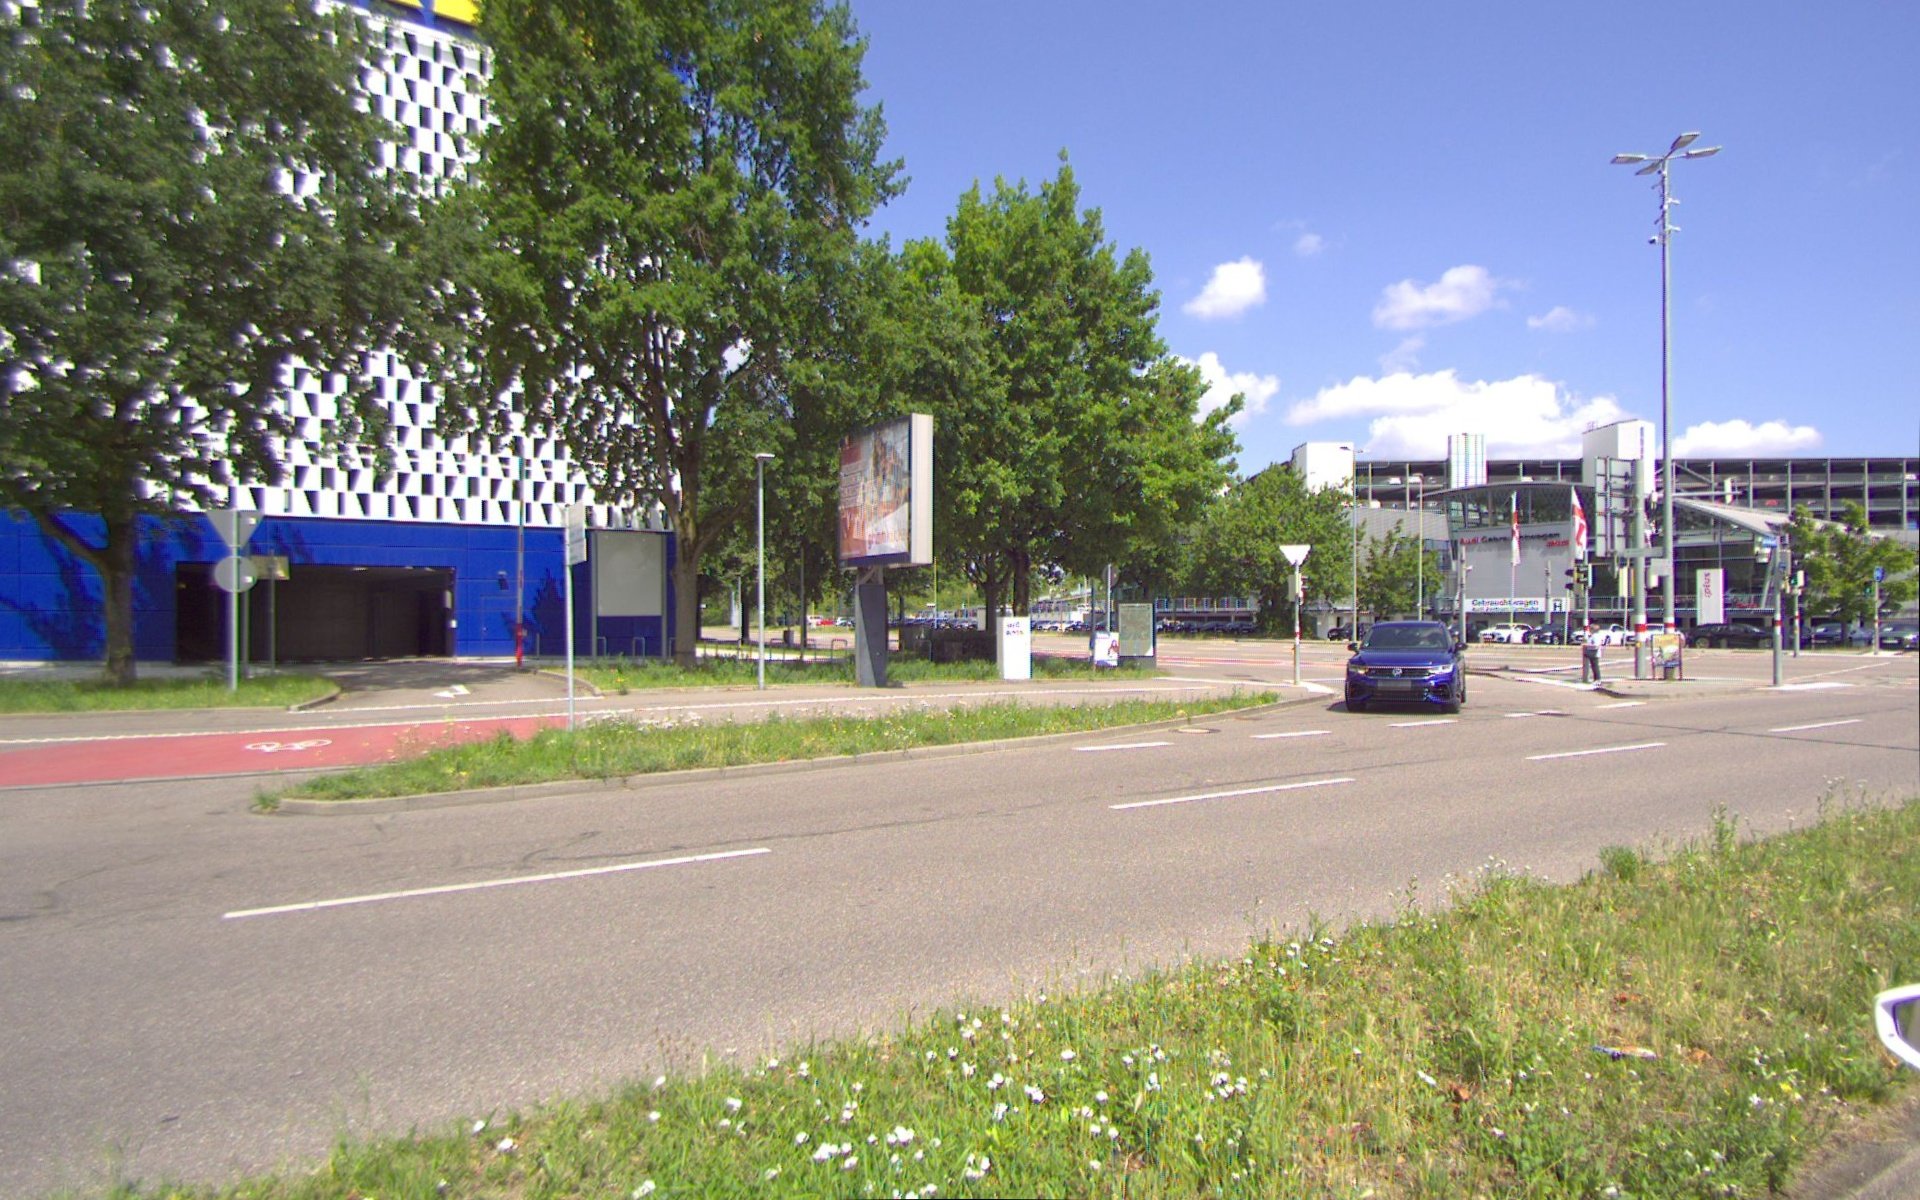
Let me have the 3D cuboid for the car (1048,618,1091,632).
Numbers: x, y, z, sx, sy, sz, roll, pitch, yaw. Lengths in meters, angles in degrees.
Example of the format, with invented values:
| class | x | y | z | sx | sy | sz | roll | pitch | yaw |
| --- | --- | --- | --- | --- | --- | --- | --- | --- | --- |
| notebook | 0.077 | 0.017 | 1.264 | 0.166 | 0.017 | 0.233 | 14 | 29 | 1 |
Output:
| class | x | y | z | sx | sy | sz | roll | pitch | yaw |
| --- | --- | --- | --- | --- | --- | --- | --- | --- | --- |
| car | 10.795 | 2.439 | 98.774 | 3.953 | 1.271 | 1.789 | 0 | 0 | -30 |

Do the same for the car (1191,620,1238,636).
| class | x | y | z | sx | sy | sz | roll | pitch | yaw |
| --- | --- | --- | --- | --- | --- | --- | --- | --- | --- |
| car | 20.146 | 2.193 | 79.449 | 3.463 | 1.207 | 1.583 | 1 | 0 | -30 |

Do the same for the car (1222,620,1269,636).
| class | x | y | z | sx | sy | sz | roll | pitch | yaw |
| --- | --- | --- | --- | --- | --- | --- | --- | --- | --- |
| car | 21.962 | 2.151 | 77.295 | 3.463 | 1.207 | 1.583 | 1 | 0 | -30 |

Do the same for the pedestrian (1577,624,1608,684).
| class | x | y | z | sx | sy | sz | roll | pitch | yaw |
| --- | --- | --- | --- | --- | --- | --- | --- | --- | --- |
| pedestrian | 16.627 | 1.415 | 26.423 | 0.502 | 1.532 | 0.470 | 1 | 0 | -5 |

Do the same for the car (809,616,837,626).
| class | x | y | z | sx | sy | sz | roll | pitch | yaw |
| --- | --- | --- | --- | --- | --- | --- | --- | --- | --- |
| car | -19.515 | 2.978 | 142.930 | 3.687 | 1.409 | 1.689 | 1 | 0 | -30 |

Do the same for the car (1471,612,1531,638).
| class | x | y | z | sx | sy | sz | roll | pitch | yaw |
| --- | --- | --- | --- | --- | --- | --- | --- | --- | --- |
| car | 33.653 | 1.518 | 62.455 | 3.664 | 1.506 | 1.866 | 0 | 0 | -35 |

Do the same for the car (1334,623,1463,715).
| class | x | y | z | sx | sy | sz | roll | pitch | yaw |
| --- | --- | --- | --- | --- | --- | --- | --- | --- | --- |
| car | 8.317 | 1.238 | 18.867 | 1.963 | 1.529 | 3.996 | -3 | -3 | 27 |

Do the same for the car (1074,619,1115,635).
| class | x | y | z | sx | sy | sz | roll | pitch | yaw |
| --- | --- | --- | --- | --- | --- | --- | --- | --- | --- |
| car | 12.211 | 2.422 | 91.057 | 3.463 | 1.409 | 1.583 | 1 | 0 | -30 |

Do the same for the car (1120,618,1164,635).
| class | x | y | z | sx | sy | sz | roll | pitch | yaw |
| --- | --- | --- | --- | --- | --- | --- | --- | --- | --- |
| car | 15.604 | 2.301 | 86.046 | 3.463 | 1.409 | 1.583 | 1 | 0 | -30 |

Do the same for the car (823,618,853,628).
| class | x | y | z | sx | sy | sz | roll | pitch | yaw |
| --- | --- | --- | --- | --- | --- | --- | --- | --- | --- |
| car | -16.771 | 3.139 | 137.952 | 3.687 | 1.409 | 1.689 | 1 | 0 | -30 |

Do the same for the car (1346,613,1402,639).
| class | x | y | z | sx | sy | sz | roll | pitch | yaw |
| --- | --- | --- | --- | --- | --- | --- | --- | --- | --- |
| car | 28.248 | 1.776 | 68.524 | 3.754 | 1.686 | 1.803 | 1 | 0 | -34 |

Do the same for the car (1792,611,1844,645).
| class | x | y | z | sx | sy | sz | roll | pitch | yaw |
| --- | --- | --- | --- | --- | --- | --- | --- | --- | --- |
| car | 42.197 | 1.369 | 49.354 | 1.797 | 1.572 | 3.977 | 1 | 0 | 43 |

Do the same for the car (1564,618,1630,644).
| class | x | y | z | sx | sy | sz | roll | pitch | yaw |
| --- | --- | --- | --- | --- | --- | --- | --- | --- | --- |
| car | 36.811 | 1.785 | 58.045 | 3.713 | 1.394 | 1.895 | 0 | 0 | -34 |

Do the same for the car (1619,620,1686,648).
| class | x | y | z | sx | sy | sz | roll | pitch | yaw |
| --- | --- | --- | --- | --- | --- | --- | --- | --- | --- |
| car | 38.384 | 1.859 | 55.648 | 3.987 | 1.469 | 1.765 | 0 | 0 | -34 |

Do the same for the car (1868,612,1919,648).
| class | x | y | z | sx | sy | sz | roll | pitch | yaw |
| --- | --- | --- | --- | --- | --- | --- | --- | --- | --- |
| car | 43.977 | 1.378 | 47.266 | 1.797 | 1.572 | 3.977 | 1 | 0 | 43 |

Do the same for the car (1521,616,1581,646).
| class | x | y | z | sx | sy | sz | roll | pitch | yaw |
| --- | --- | --- | --- | --- | --- | --- | --- | --- | --- |
| car | 35.370 | 1.820 | 60.120 | 3.580 | 1.682 | 1.746 | 0 | 0 | -35 |

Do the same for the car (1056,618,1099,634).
| class | x | y | z | sx | sy | sz | roll | pitch | yaw |
| --- | --- | --- | --- | --- | --- | --- | --- | --- | --- |
| car | 10.903 | 2.364 | 92.822 | 3.687 | 1.409 | 1.689 | 1 | 0 | -30 |

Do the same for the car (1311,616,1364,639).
| class | x | y | z | sx | sy | sz | roll | pitch | yaw |
| --- | --- | --- | --- | --- | --- | --- | --- | --- | --- |
| car | 26.547 | 1.915 | 70.604 | 3.664 | 1.508 | 1.825 | 0 | 0 | -35 |

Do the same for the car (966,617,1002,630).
| class | x | y | z | sx | sy | sz | roll | pitch | yaw |
| --- | --- | --- | --- | --- | --- | --- | --- | --- | --- |
| car | 2.627 | 2.627 | 110.631 | 3.687 | 1.409 | 1.689 | 1 | 0 | -30 |

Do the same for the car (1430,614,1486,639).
| class | x | y | z | sx | sy | sz | roll | pitch | yaw |
| --- | --- | --- | --- | --- | --- | --- | --- | --- | --- |
| car | 32.151 | 1.708 | 64.846 | 3.662 | 1.506 | 1.717 | 0 | 0 | -34 |

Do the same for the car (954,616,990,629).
| class | x | y | z | sx | sy | sz | roll | pitch | yaw |
| --- | --- | --- | --- | --- | --- | --- | --- | --- | --- |
| car | 1.378 | 2.538 | 112.627 | 3.687 | 1.409 | 1.689 | 1 | 0 | -30 |

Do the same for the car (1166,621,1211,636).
| class | x | y | z | sx | sy | sz | roll | pitch | yaw |
| --- | --- | --- | --- | --- | --- | --- | --- | --- | --- |
| car | 18.601 | 2.326 | 81.685 | 3.463 | 1.207 | 1.583 | 1 | 0 | -30 |

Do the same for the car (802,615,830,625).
| class | x | y | z | sx | sy | sz | roll | pitch | yaw |
| --- | --- | --- | --- | --- | --- | --- | --- | --- | --- |
| car | -20.757 | 2.853 | 145.109 | 3.687 | 1.409 | 1.689 | 1 | 0 | -30 |

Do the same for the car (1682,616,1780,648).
| class | x | y | z | sx | sy | sz | roll | pitch | yaw |
| --- | --- | --- | --- | --- | --- | --- | --- | --- | --- |
| car | 40.033 | 1.649 | 52.217 | 1.662 | 1.533 | 3.767 | 0 | 0 | -35 |
